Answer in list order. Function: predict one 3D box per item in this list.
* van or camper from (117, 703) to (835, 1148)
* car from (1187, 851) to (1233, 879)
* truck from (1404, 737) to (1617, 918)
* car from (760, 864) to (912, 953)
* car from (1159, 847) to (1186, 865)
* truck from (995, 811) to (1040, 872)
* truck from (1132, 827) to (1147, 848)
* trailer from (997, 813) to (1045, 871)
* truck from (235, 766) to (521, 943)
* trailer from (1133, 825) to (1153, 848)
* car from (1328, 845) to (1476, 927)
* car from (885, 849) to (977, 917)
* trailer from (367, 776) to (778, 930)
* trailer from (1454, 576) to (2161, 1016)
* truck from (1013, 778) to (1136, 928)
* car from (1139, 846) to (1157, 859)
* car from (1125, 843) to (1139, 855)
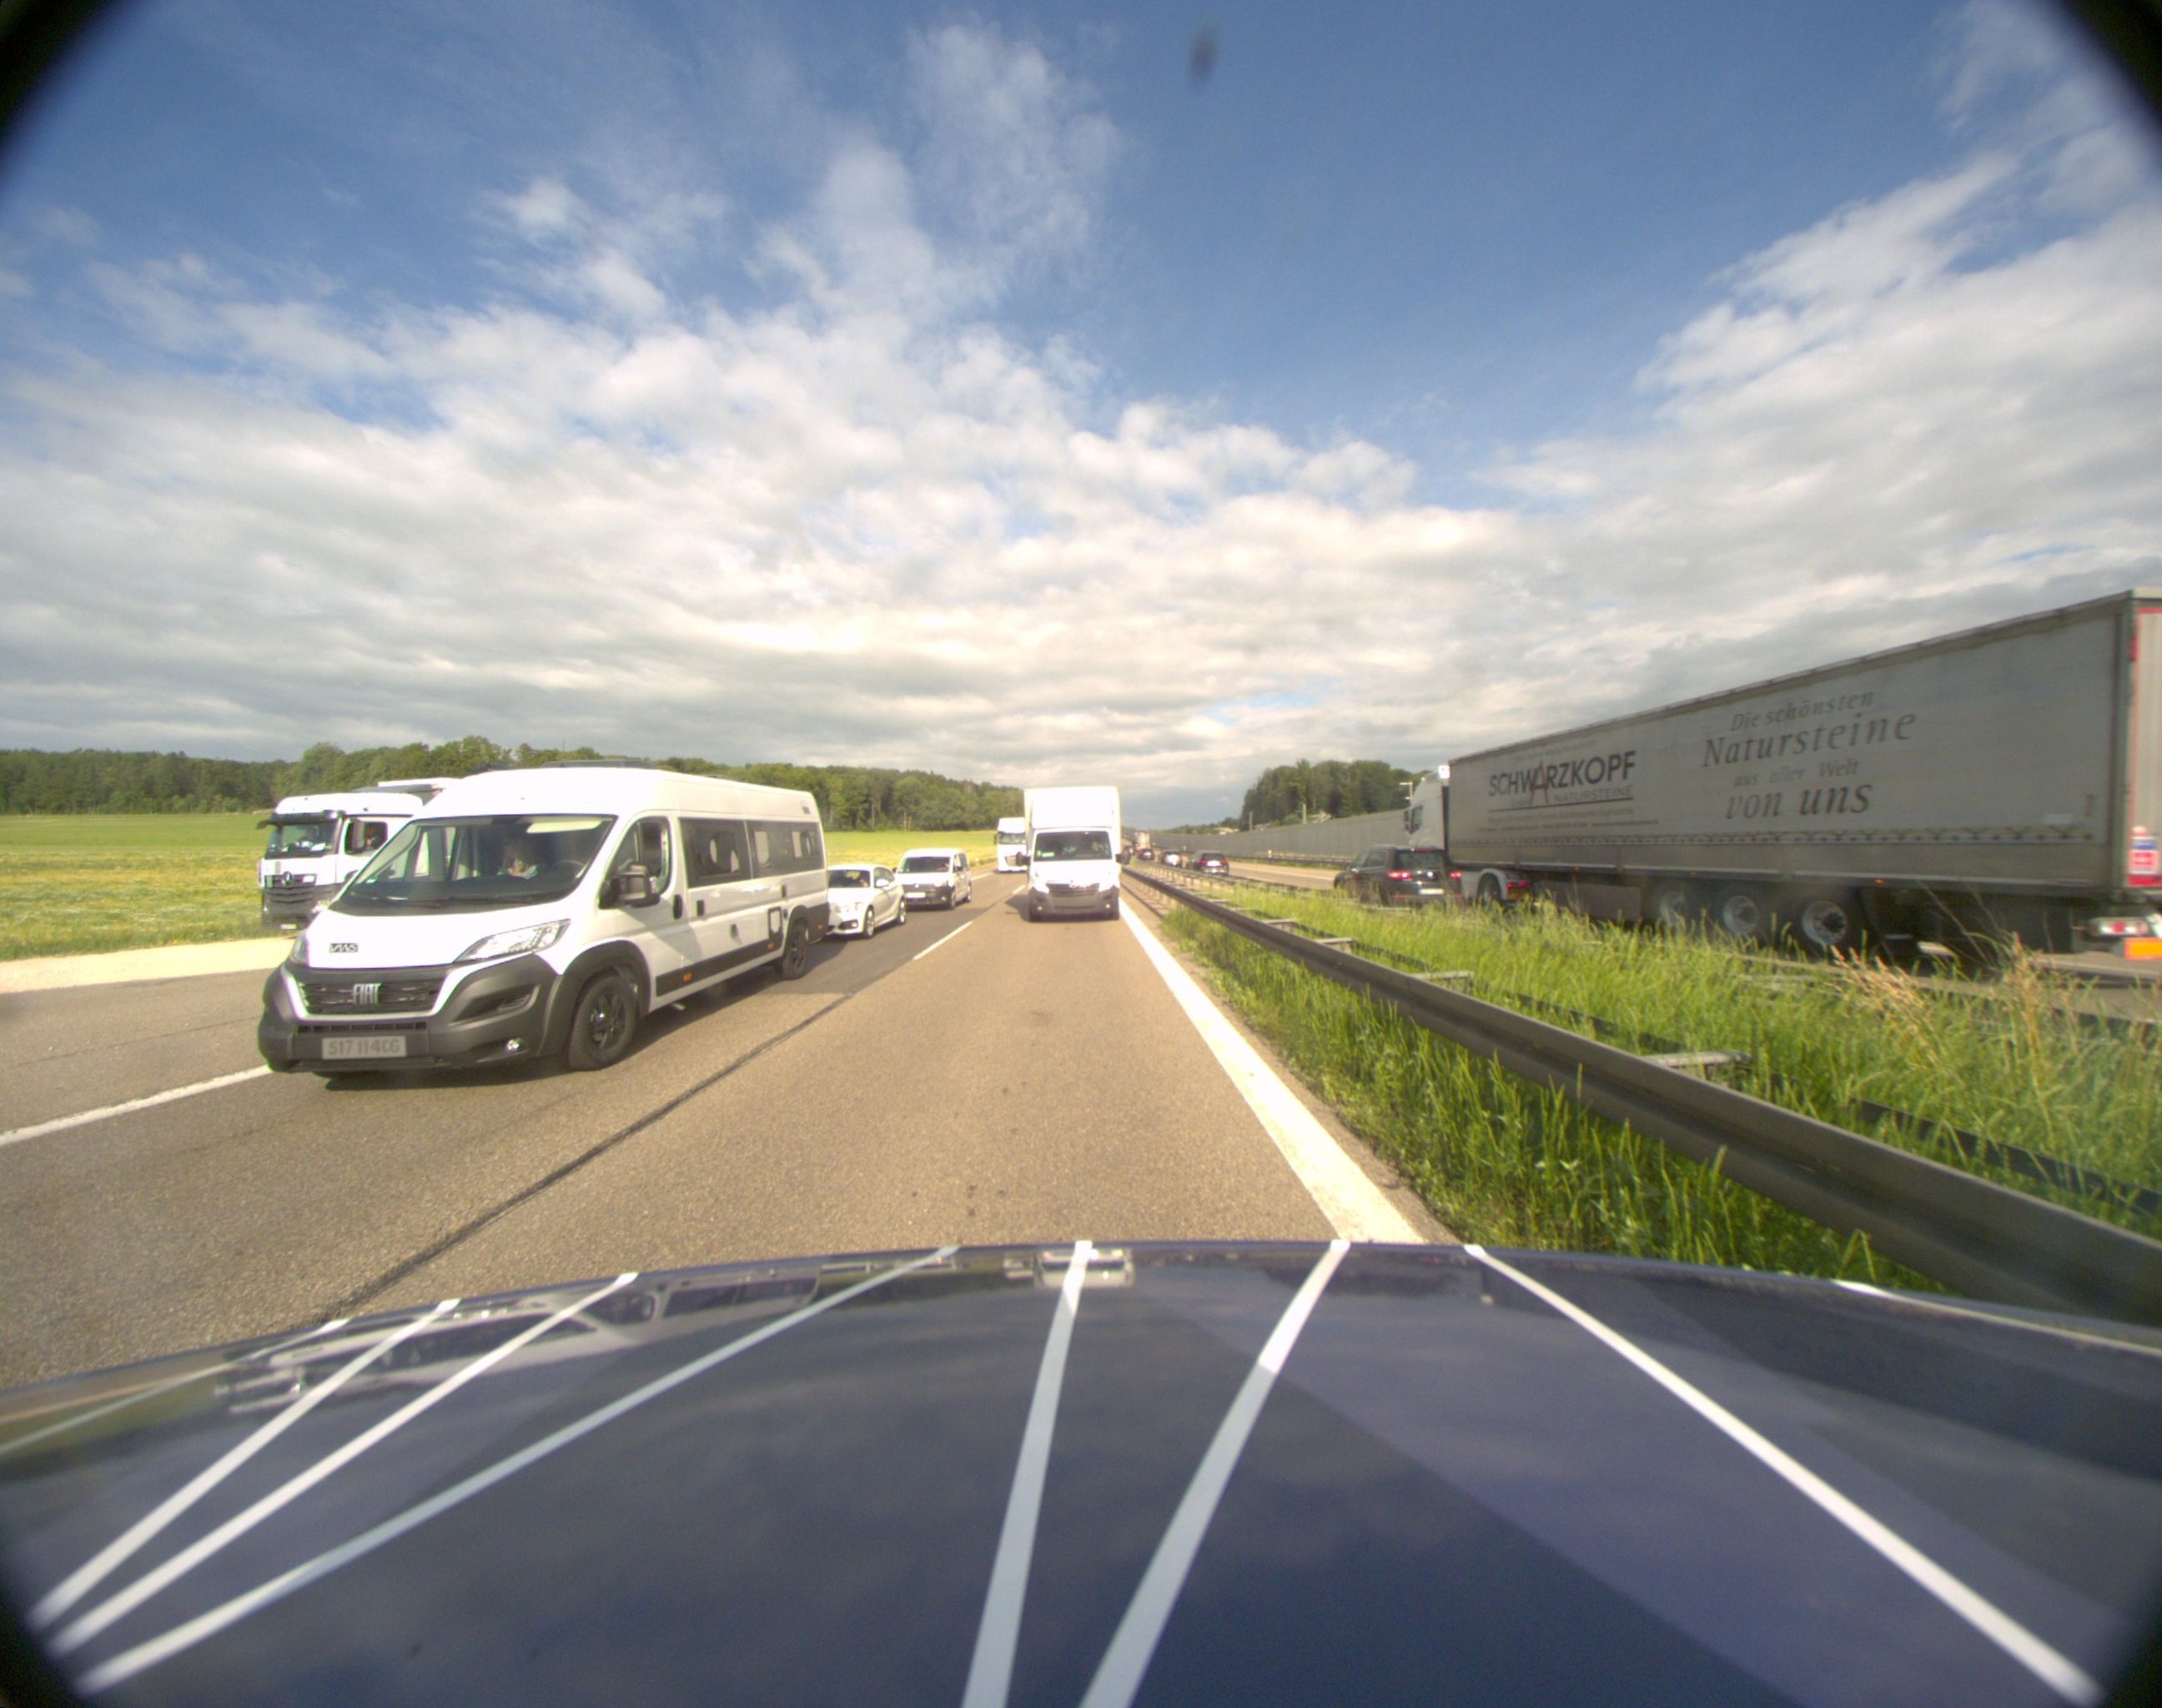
[{"bbox_3d":[-4.688,0.410,7.788,2.221,2.665,6.331,-1,1,0],"label":"van or camper"},{"bbox_3d":[6.986,0.565,41.505,1.746,1.350,4.231,-1,1,0],"label":"car"},{"bbox_3d":[11.193,-0.644,20.547,2.386,4.157,5.931,-1,1,0],"label":"truck"},{"bbox_3d":[-4.808,0.994,15.569,1.708,1.424,4.231,-2,1,0],"label":"car"},{"bbox_3d":[7.684,0.159,64.035,1.773,1.471,3.828,-1,1,1],"label":"car"},{"bbox_3d":[-4.620,-0.919,56.101,2.736,4.150,5.765,-2,1,0],"label":"truck"},{"bbox_3d":[11.180,-3.190,145.639,2.589,3.900,5.721,0,1,0],"label":"truck"},{"bbox_3d":[-4.671,-1.046,61.997,2.742,4.137,14.014,-2,1,0],"label":"trailer"},{"bbox_3d":[-18.522,0.026,20.426,2.717,4.149,4.765,-2,1,15],"label":"truck"},{"bbox_3d":[11.239,-3.112,138.290,2.595,3.879,10.862,0,1,0],"label":"trailer"},{"bbox_3d":[7.463,0.651,18.141,1.713,1.696,4.172,-1,1,-1],"label":"car"},{"bbox_3d":[-4.364,0.753,22.823,1.729,1.746,4.702,-2,1,0],"label":"car"},{"bbox_3d":[-16.664,-0.090,27.471,2.739,4.136,13.842,-2,0,15],"label":"trailer"},{"bbox_3d":[11.160,-0.621,13.791,2.395,4.158,13.201,-1,1,0],"label":"trailer"},{"bbox_3d":[-0.169,-0.076,22.049,2.500,3.082,12.036,-2,1,0],"label":"truck"},{"bbox_3d":[7.927,-0.216,90.619,1.702,1.490,4.426,-1,1,0],"label":"car"},{"bbox_3d":[7.771,-0.775,115.800,1.785,1.727,4.101,-1,1,0],"label":"car"}]
